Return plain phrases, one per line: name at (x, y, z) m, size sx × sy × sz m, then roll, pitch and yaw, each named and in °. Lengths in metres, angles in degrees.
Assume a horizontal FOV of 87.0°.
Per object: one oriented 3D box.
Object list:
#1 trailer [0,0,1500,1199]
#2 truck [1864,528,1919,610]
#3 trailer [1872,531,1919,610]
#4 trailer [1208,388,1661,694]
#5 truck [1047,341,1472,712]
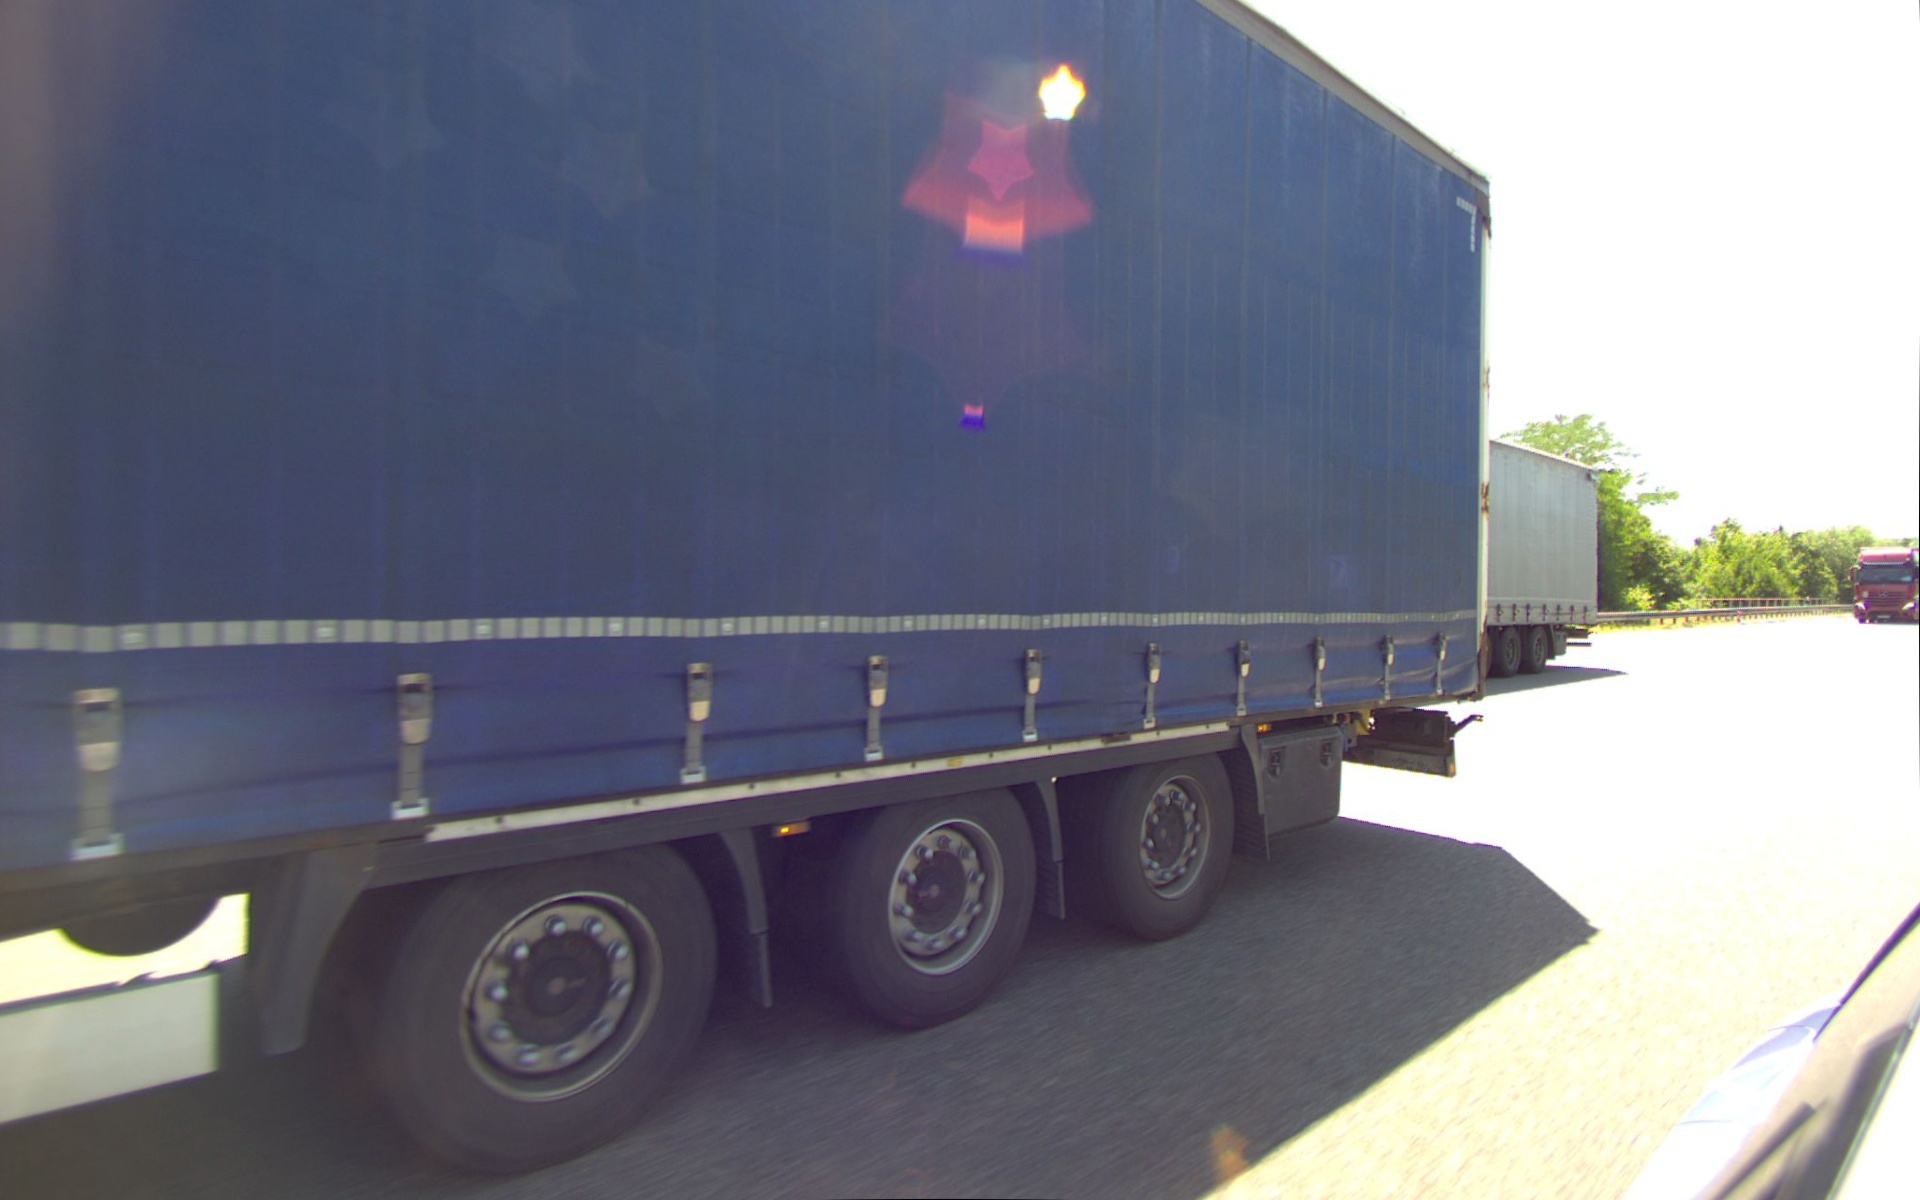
trailer at (-2.234, -0.763, 3.018) m, size 11.919 × 4.169 × 2.705 m, roll -1°, pitch 1°, yaw -41°
truck at (51.153, -1.613, 54.517) m, size 7.636 × 4.169 × 2.800 m, roll -1°, pitch 1°, yaw -41°
trailer at (54.904, -1.652, 57.867) m, size 12.087 × 4.169 × 2.800 m, roll -1°, pitch 1°, yaw -42°
trailer at (9.670, -0.887, 19.080) m, size 13.009 × 4.169 × 2.705 m, roll -1°, pitch 1°, yaw -41°
truck at (4.611, -0.873, 14.686) m, size 6.870 × 4.169 × 2.704 m, roll -1°, pitch 1°, yaw -41°
